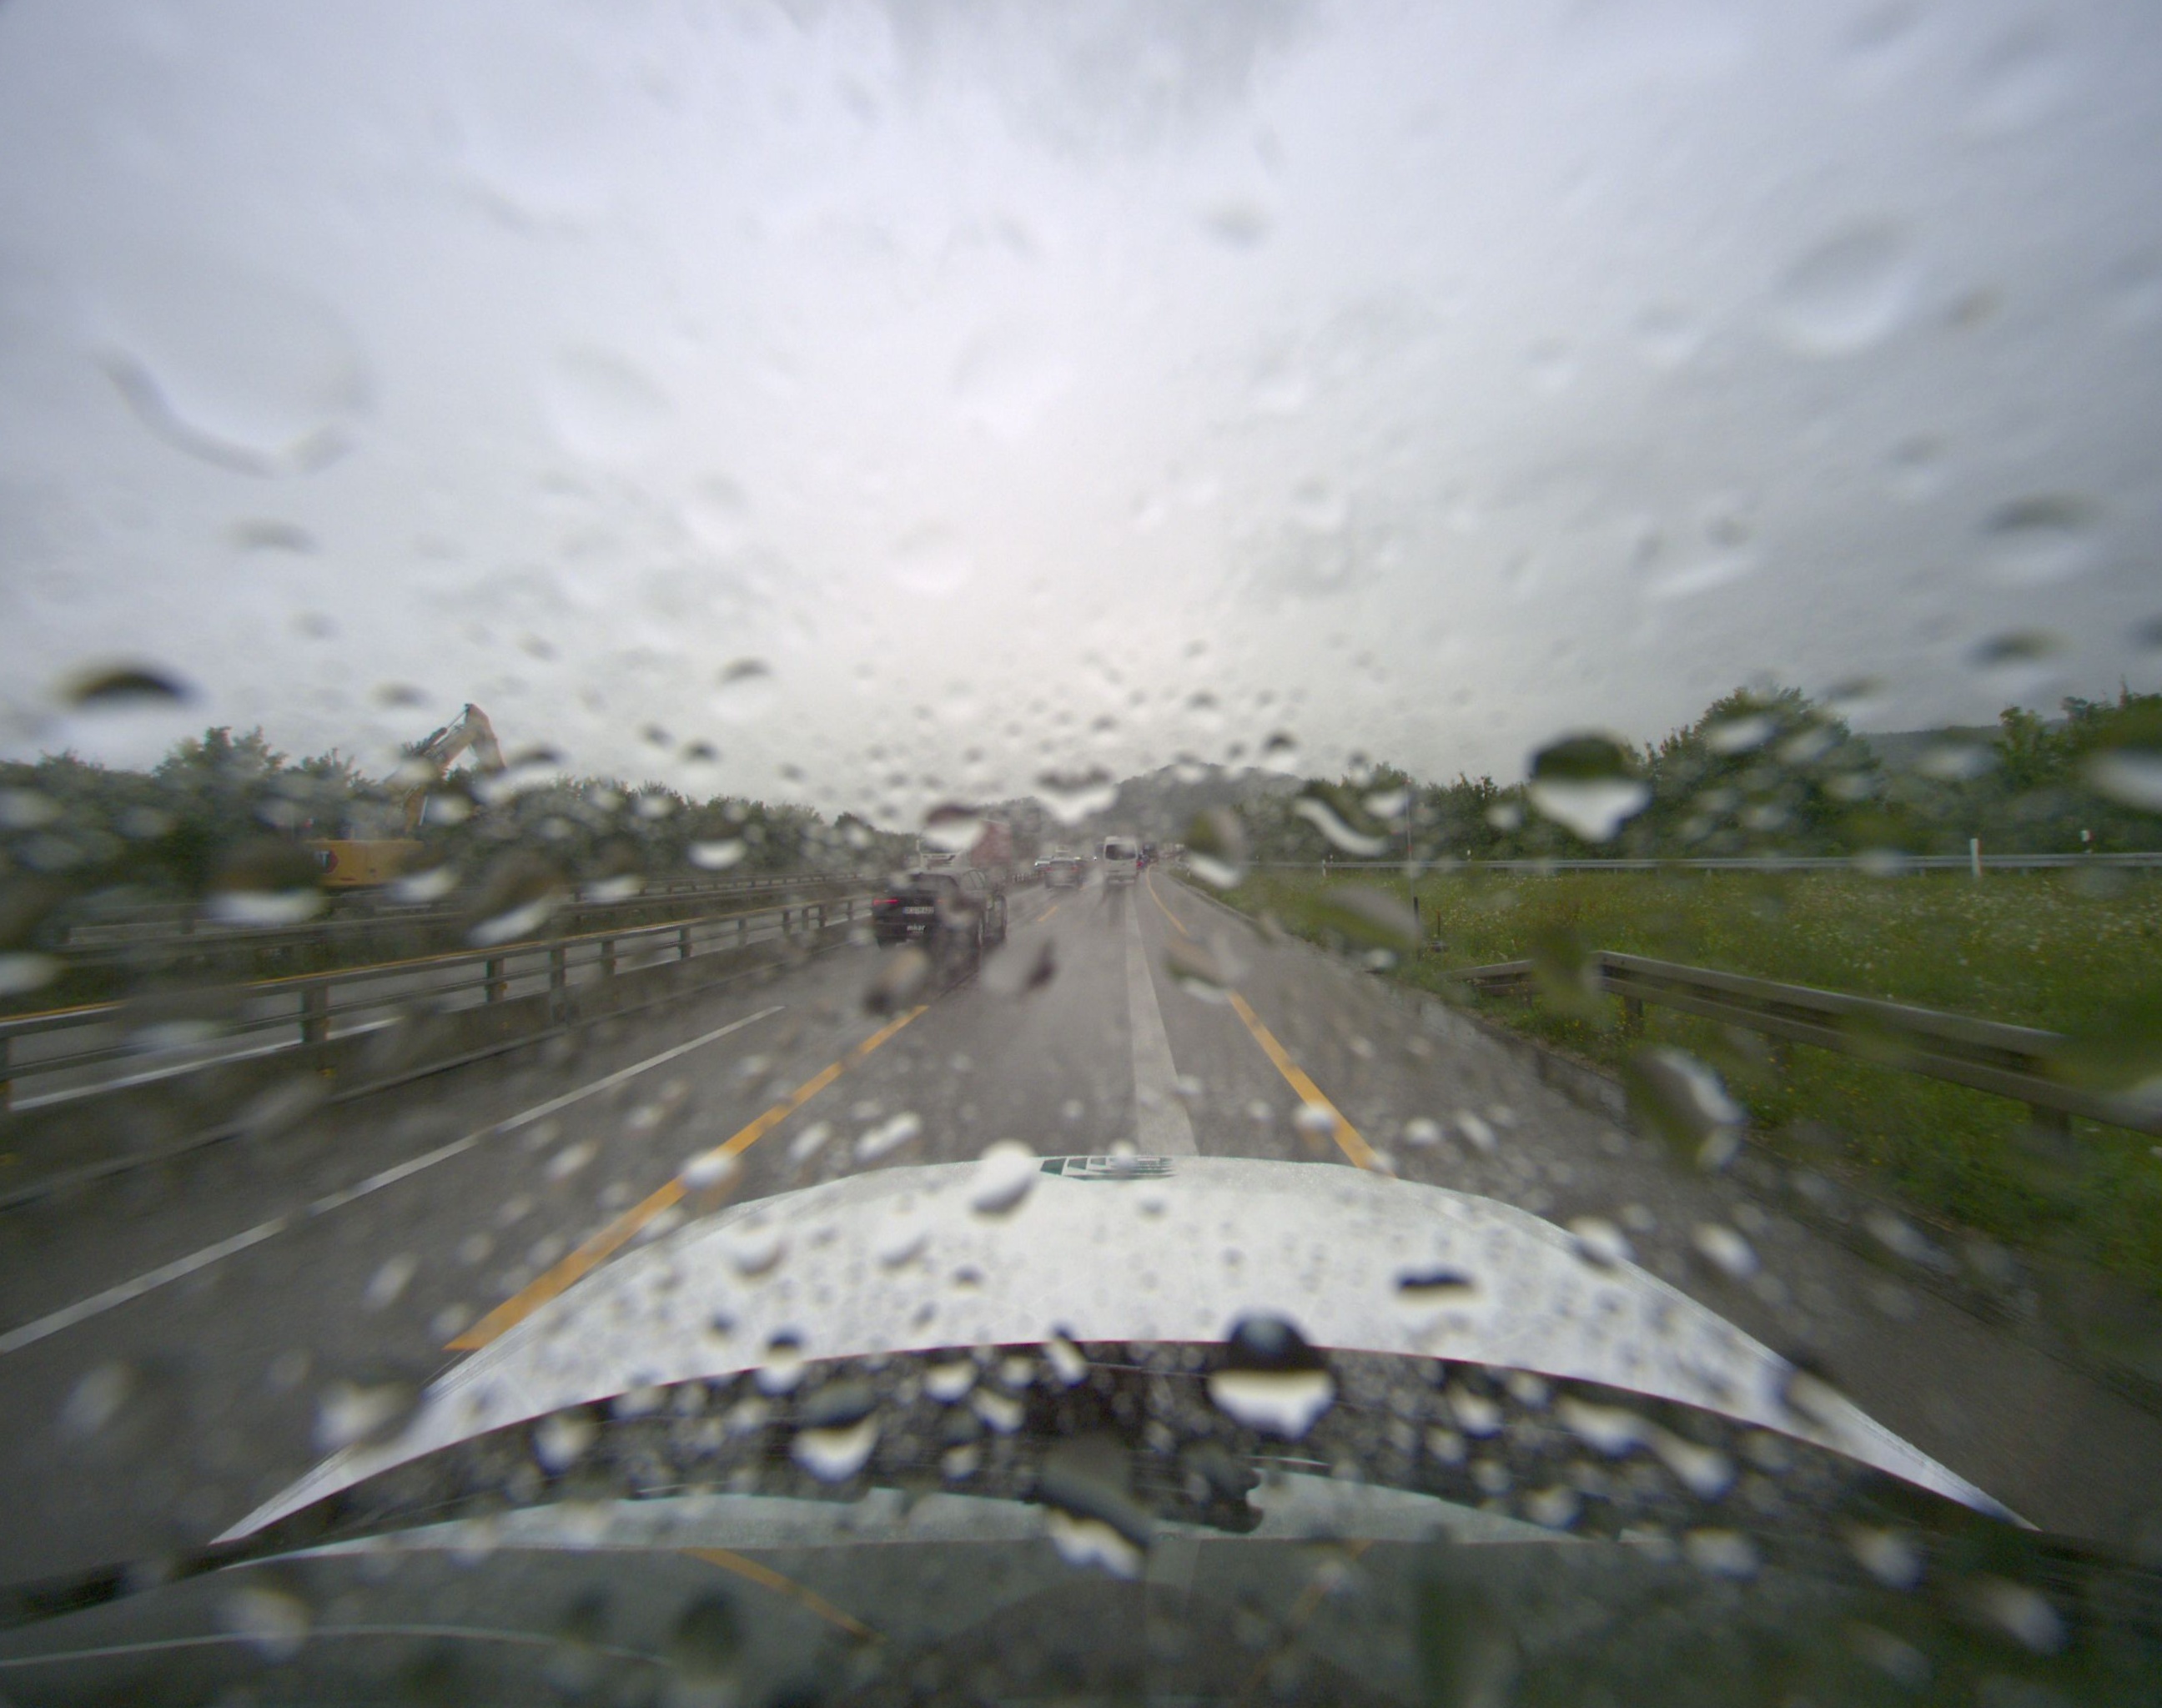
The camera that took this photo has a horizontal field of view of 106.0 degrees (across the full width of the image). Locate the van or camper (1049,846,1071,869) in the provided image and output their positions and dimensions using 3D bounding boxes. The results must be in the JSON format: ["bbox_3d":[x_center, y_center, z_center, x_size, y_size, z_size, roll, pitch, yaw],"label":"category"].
[{"bbox_3d":[-2.790,0.488,109.844,2.284,3.041,6.704,0,-1,3],"label":"van or camper"}]

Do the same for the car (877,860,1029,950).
[{"bbox_3d":[-2.207,0.833,15.414,1.931,1.427,4.762,-1,-1,2],"label":"car"}]

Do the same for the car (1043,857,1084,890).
[{"bbox_3d":[-0.910,1.016,43.753,1.859,1.659,3.991,-1,-1,3],"label":"car"}]

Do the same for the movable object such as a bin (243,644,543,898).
[{"bbox_3d":[-24.864,-2.609,30.329,3.580,8.144,8.318,0,-1,4],"label":"movable object such as a bin"}]

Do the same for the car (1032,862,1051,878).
[{"bbox_3d":[-4.380,1.733,90.320,1.629,1.668,4.547,0,-1,3],"label":"car"}]

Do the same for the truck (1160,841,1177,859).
[{"bbox_3d":[24.266,-1.014,225.456,3.905,4.785,9.931,0,-1,9],"label":"truck"}]

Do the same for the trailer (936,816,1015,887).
[{"bbox_3d":[-6.902,-0.107,55.412,2.962,4.295,11.072,-2,-1,4],"label":"trailer"}]

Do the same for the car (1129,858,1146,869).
[{"bbox_3d":[5.623,0.958,81.561,1.381,1.078,3.120,-1,0,-2],"label":"car"}]

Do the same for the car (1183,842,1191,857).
[{"bbox_3d":[29.913,-1.199,229.832,2.047,4.192,6.758,-1,-1,7],"label":"car"}]

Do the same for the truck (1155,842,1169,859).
[{"bbox_3d":[19.025,-0.822,191.913,3.305,3.762,9.918,0,-1,5],"label":"truck"}]

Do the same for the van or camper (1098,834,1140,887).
[{"bbox_3d":[2.065,0.380,44.771,2.131,2.721,4.650,-1,-1,2],"label":"van or camper"}]

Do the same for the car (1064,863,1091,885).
[{"bbox_3d":[-0.232,1.448,60.548,1.845,1.500,4.002,-1,-1,2],"label":"car"}]

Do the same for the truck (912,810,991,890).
[{"bbox_3d":[-7.470,-0.166,47.948,2.994,4.272,6.808,-2,-1,4],"label":"truck"}]

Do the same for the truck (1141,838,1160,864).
[{"bbox_3d":[13.143,-0.414,154.159,3.305,4.785,9.918,0,-1,5],"label":"truck"}]

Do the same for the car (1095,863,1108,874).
[{"bbox_3d":[2.091,1.486,82.995,1.257,1.078,3.257,-1,0,3],"label":"car"}]
